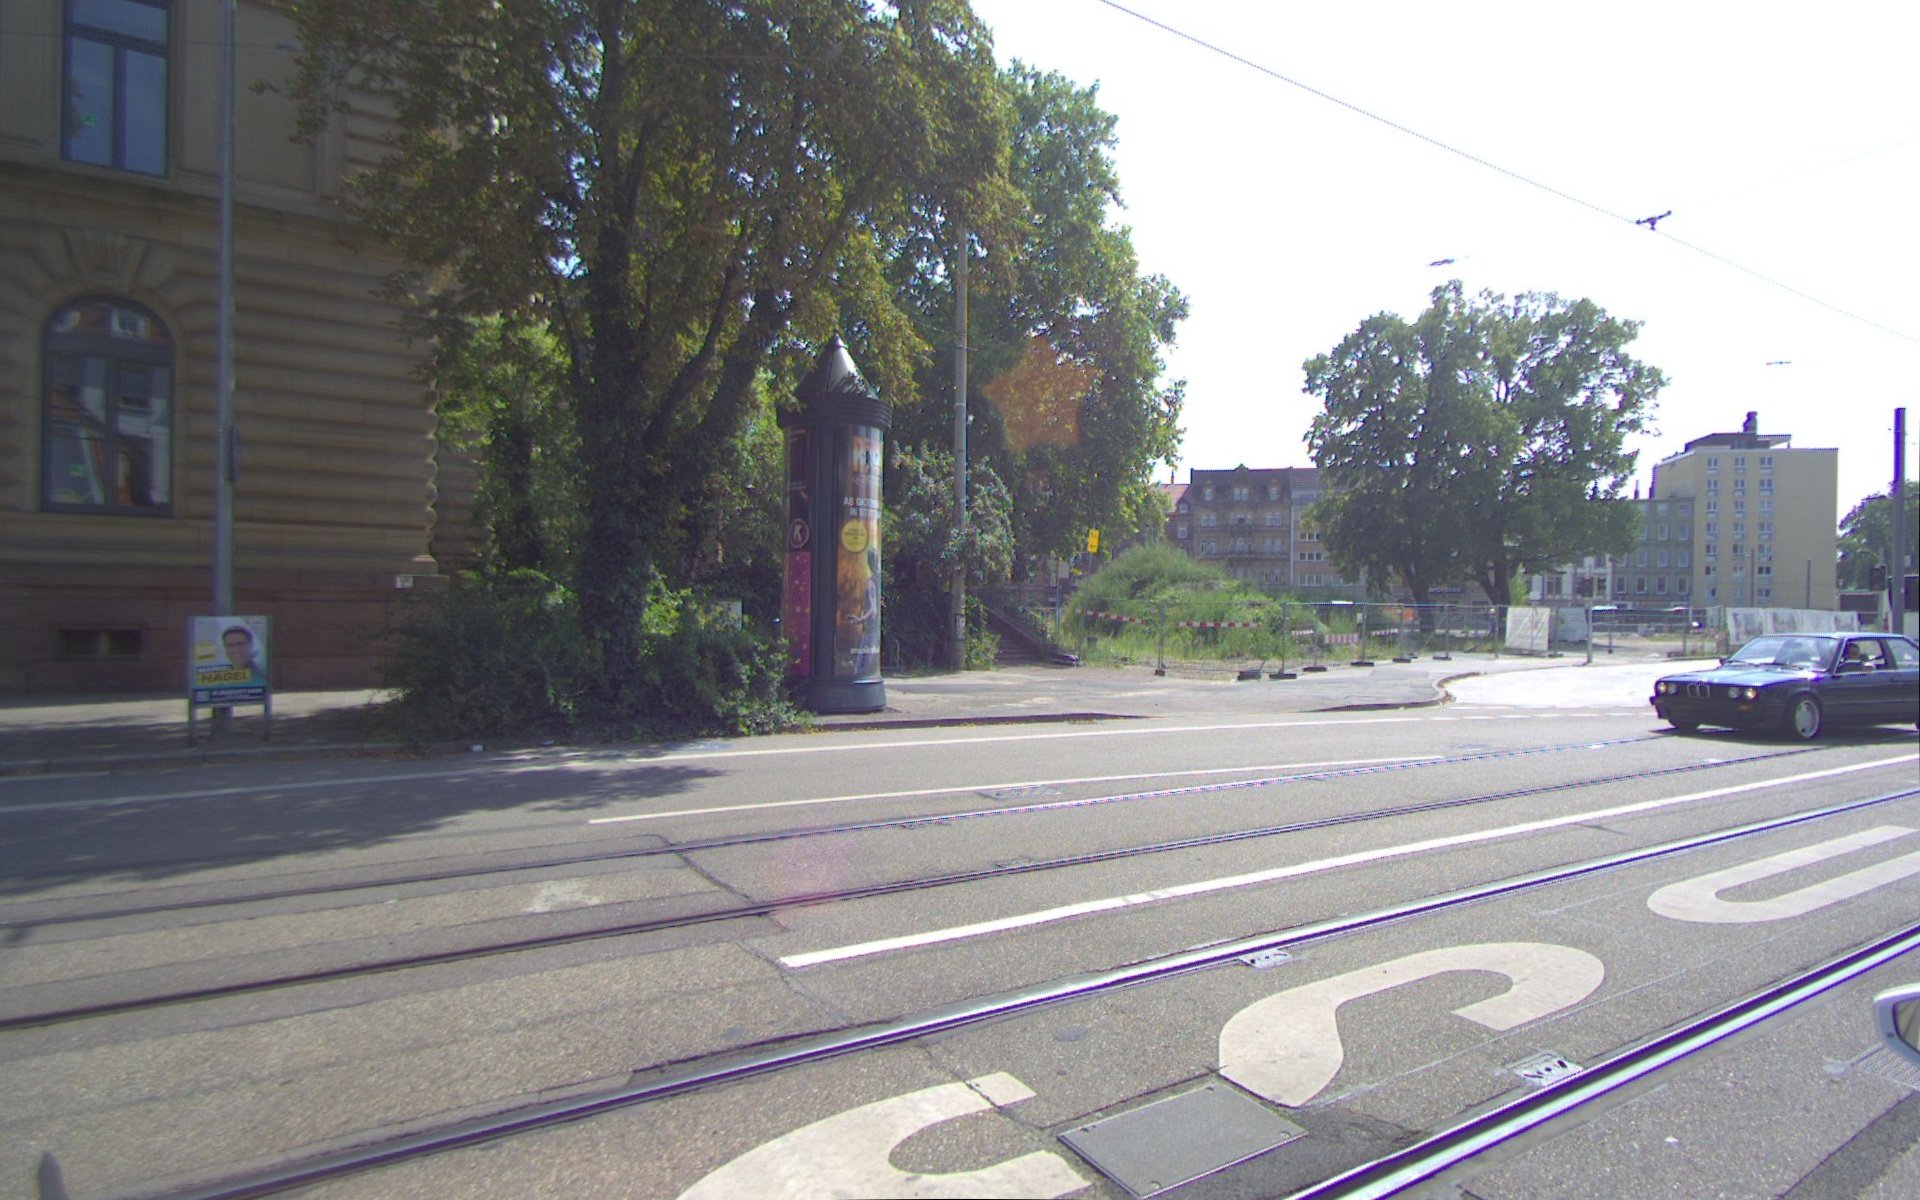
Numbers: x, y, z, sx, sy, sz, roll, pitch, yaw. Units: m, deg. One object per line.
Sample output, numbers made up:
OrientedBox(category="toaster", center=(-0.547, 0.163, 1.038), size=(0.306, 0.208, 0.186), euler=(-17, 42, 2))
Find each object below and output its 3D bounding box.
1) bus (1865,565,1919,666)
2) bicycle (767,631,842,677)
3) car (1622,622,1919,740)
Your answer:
OrientedBox(category="bus", center=(40.725, 0.692, 40.944), size=(10.479, 3.825, 2.941), euler=(1, 0, -32))
OrientedBox(category="bicycle", center=(-3.398, 1.148, 21.815), size=(0.742, 0.906, 2.159), euler=(1, -1, -34))
OrientedBox(category="car", center=(11.433, 1.025, 13.500), size=(4.541, 1.396, 1.688), euler=(1, -1, -16))
